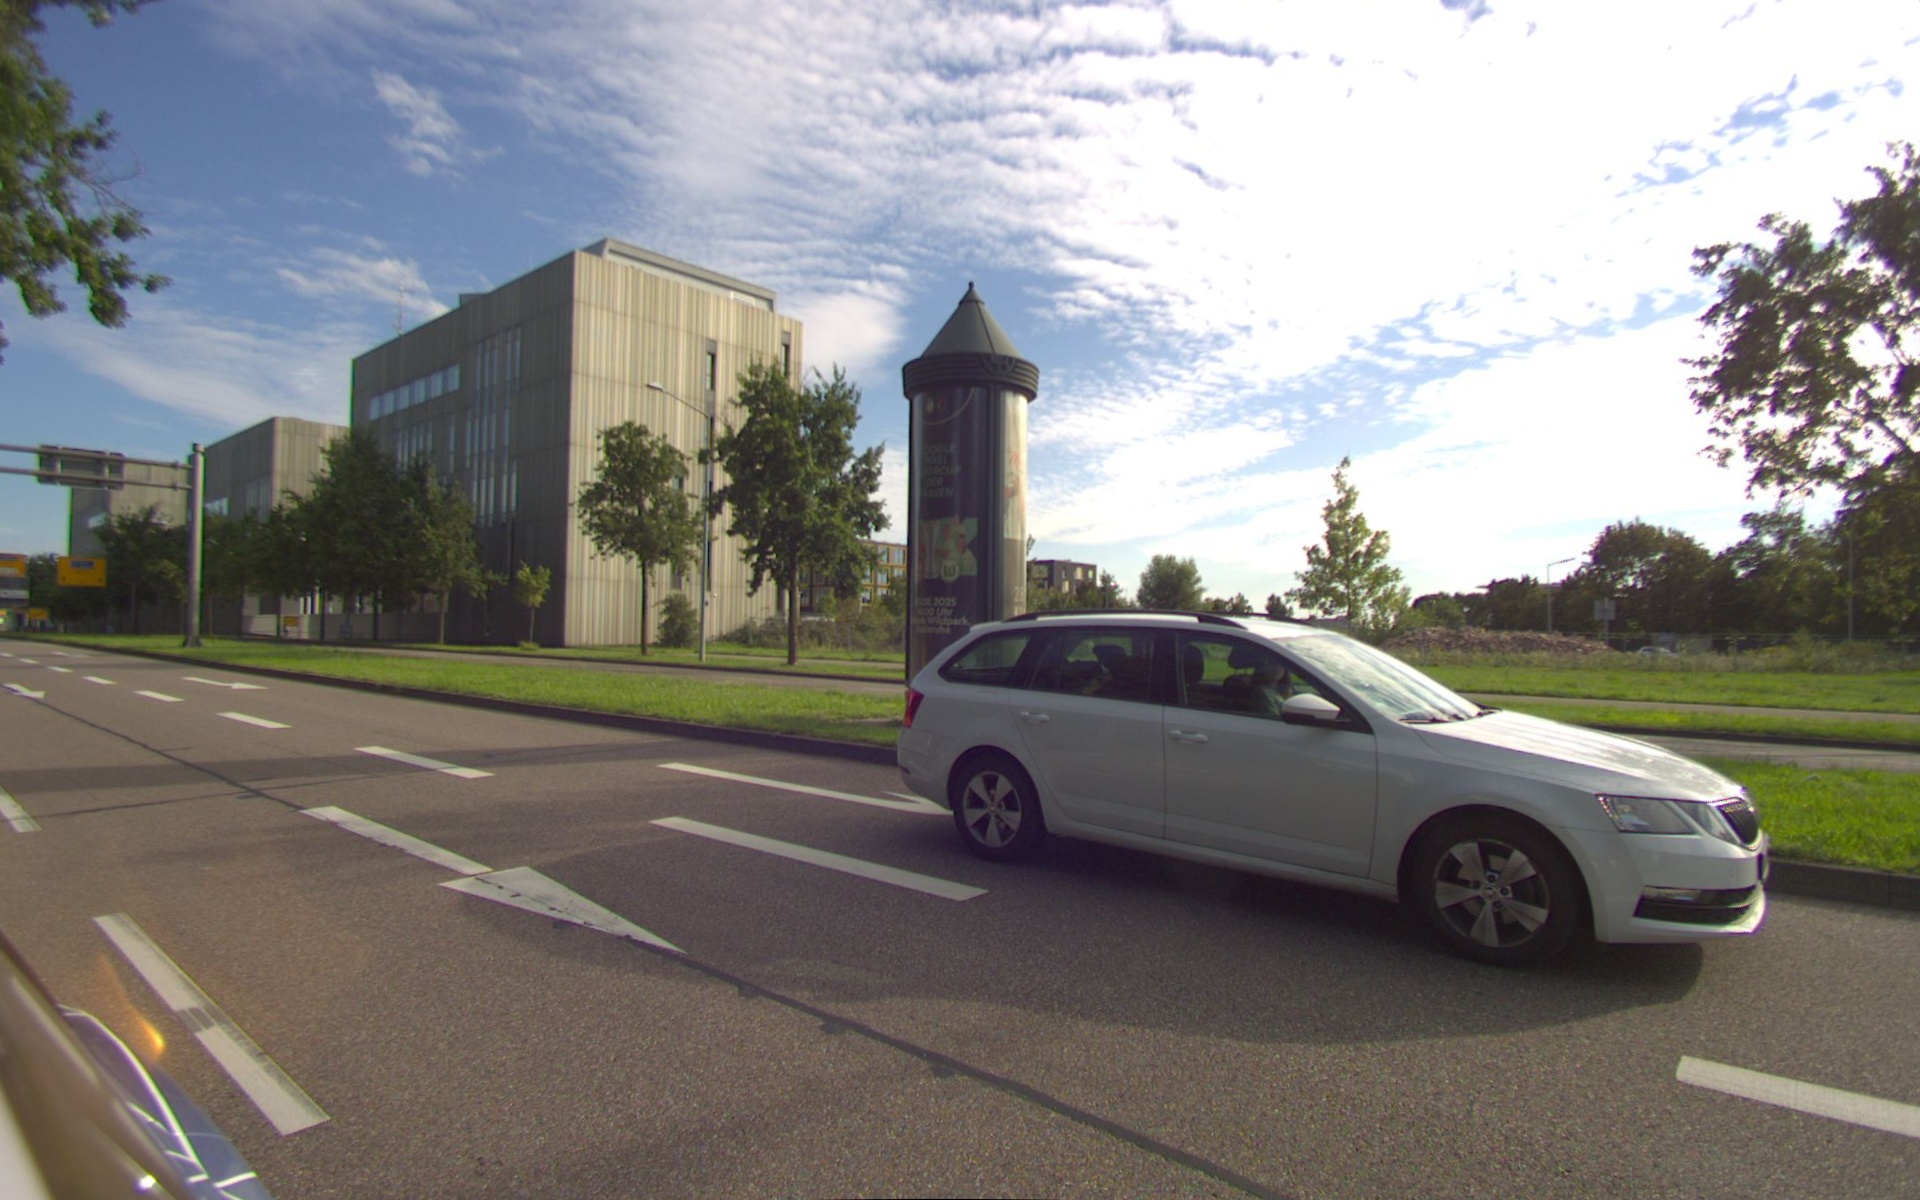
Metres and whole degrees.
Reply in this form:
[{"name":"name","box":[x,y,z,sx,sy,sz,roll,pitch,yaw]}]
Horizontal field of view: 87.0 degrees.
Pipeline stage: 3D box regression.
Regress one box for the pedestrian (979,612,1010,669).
[{"name":"pedestrian","box":[1.252,1.463,36.651,0.867,2.029,0.667,-1,-3,41]}]

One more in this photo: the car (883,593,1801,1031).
[{"name":"car","box":[1.738,0.765,5.618,4.479,1.510,1.681,-1,-1,41]}]

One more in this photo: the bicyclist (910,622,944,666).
[{"name":"bicyclist","box":[-1.194,1.561,36.188,0.989,1.537,0.698,-1,-3,41]}]

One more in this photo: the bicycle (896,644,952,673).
[{"name":"bicycle","box":[-1.307,2.092,36.252,1.910,0.989,0.885,-1,-3,41]}]
